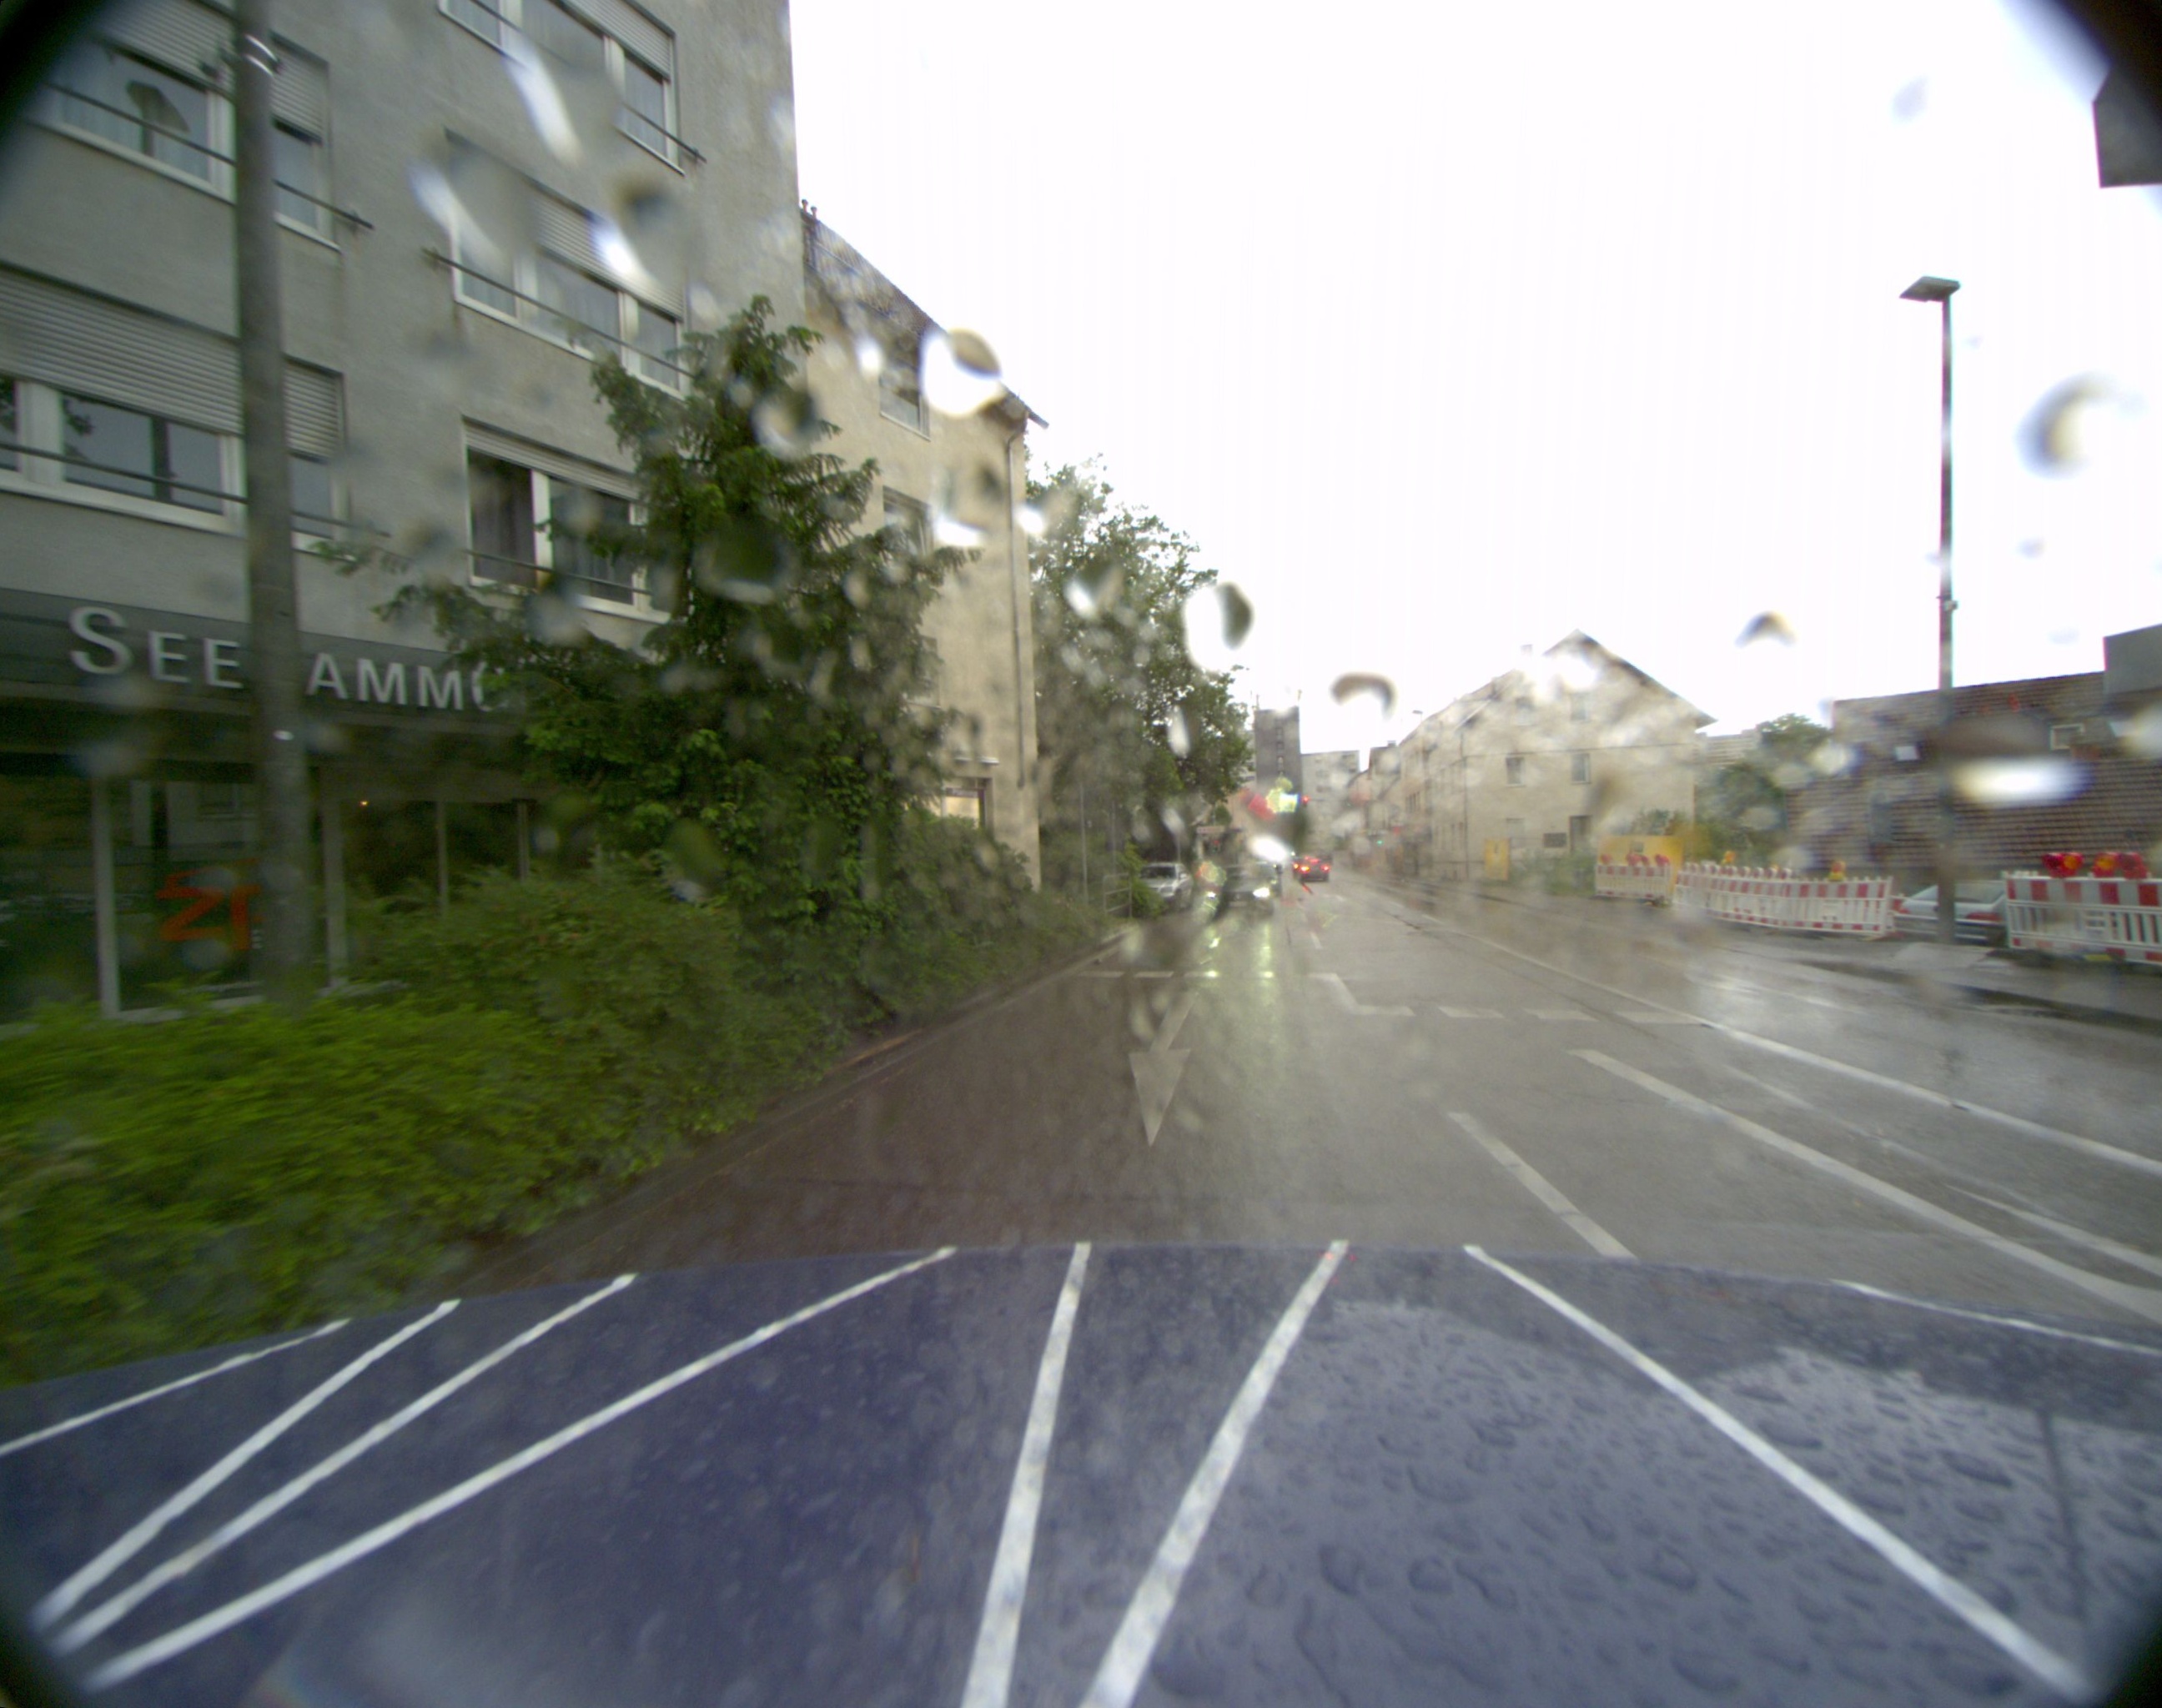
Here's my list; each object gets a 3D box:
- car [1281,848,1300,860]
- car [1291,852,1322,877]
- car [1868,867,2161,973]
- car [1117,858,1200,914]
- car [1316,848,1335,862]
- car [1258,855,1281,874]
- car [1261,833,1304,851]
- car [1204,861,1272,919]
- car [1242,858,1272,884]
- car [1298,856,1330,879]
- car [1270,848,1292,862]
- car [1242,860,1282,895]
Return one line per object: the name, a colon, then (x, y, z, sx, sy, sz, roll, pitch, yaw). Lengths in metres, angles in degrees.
car: (28.793, 0.049, 104.183, 1.547, 1.525, 3.695, -3, 0, 30)
car: (16.360, 0.740, 55.266, 1.818, 1.635, 4.280, -3, -1, 14)
car: (15.838, 1.078, 12.643, 3.506, 1.382, 1.652, 5, -1, 5)
car: (2.812, 1.039, 26.522, 1.933, 1.770, 4.740, -1, 0, 17)
car: (28.367, 0.152, 88.314, 1.818, 1.562, 4.280, -1, 0, 14)
car: (16.530, 0.900, 66.512, 1.684, 1.452, 4.005, -2, 0, 16)
car: (33.766, -1.987, 127.153, 6.407, 2.505, 2.681, -4, -1, 26)
car: (4.927, 1.035, 23.446, 1.818, 1.562, 4.280, -3, -1, 14)
car: (10.647, 1.013, 46.130, 1.685, 1.413, 4.004, -2, 0, 12)
car: (14.969, 0.853, 48.853, 1.710, 1.375, 3.673, -2, 0, 14)
car: (22.358, 0.049, 85.003, 1.684, 1.452, 4.007, -2, 0, 24)
car: (8.133, 1.019, 34.036, 1.640, 1.424, 3.810, -1, 0, 14)
